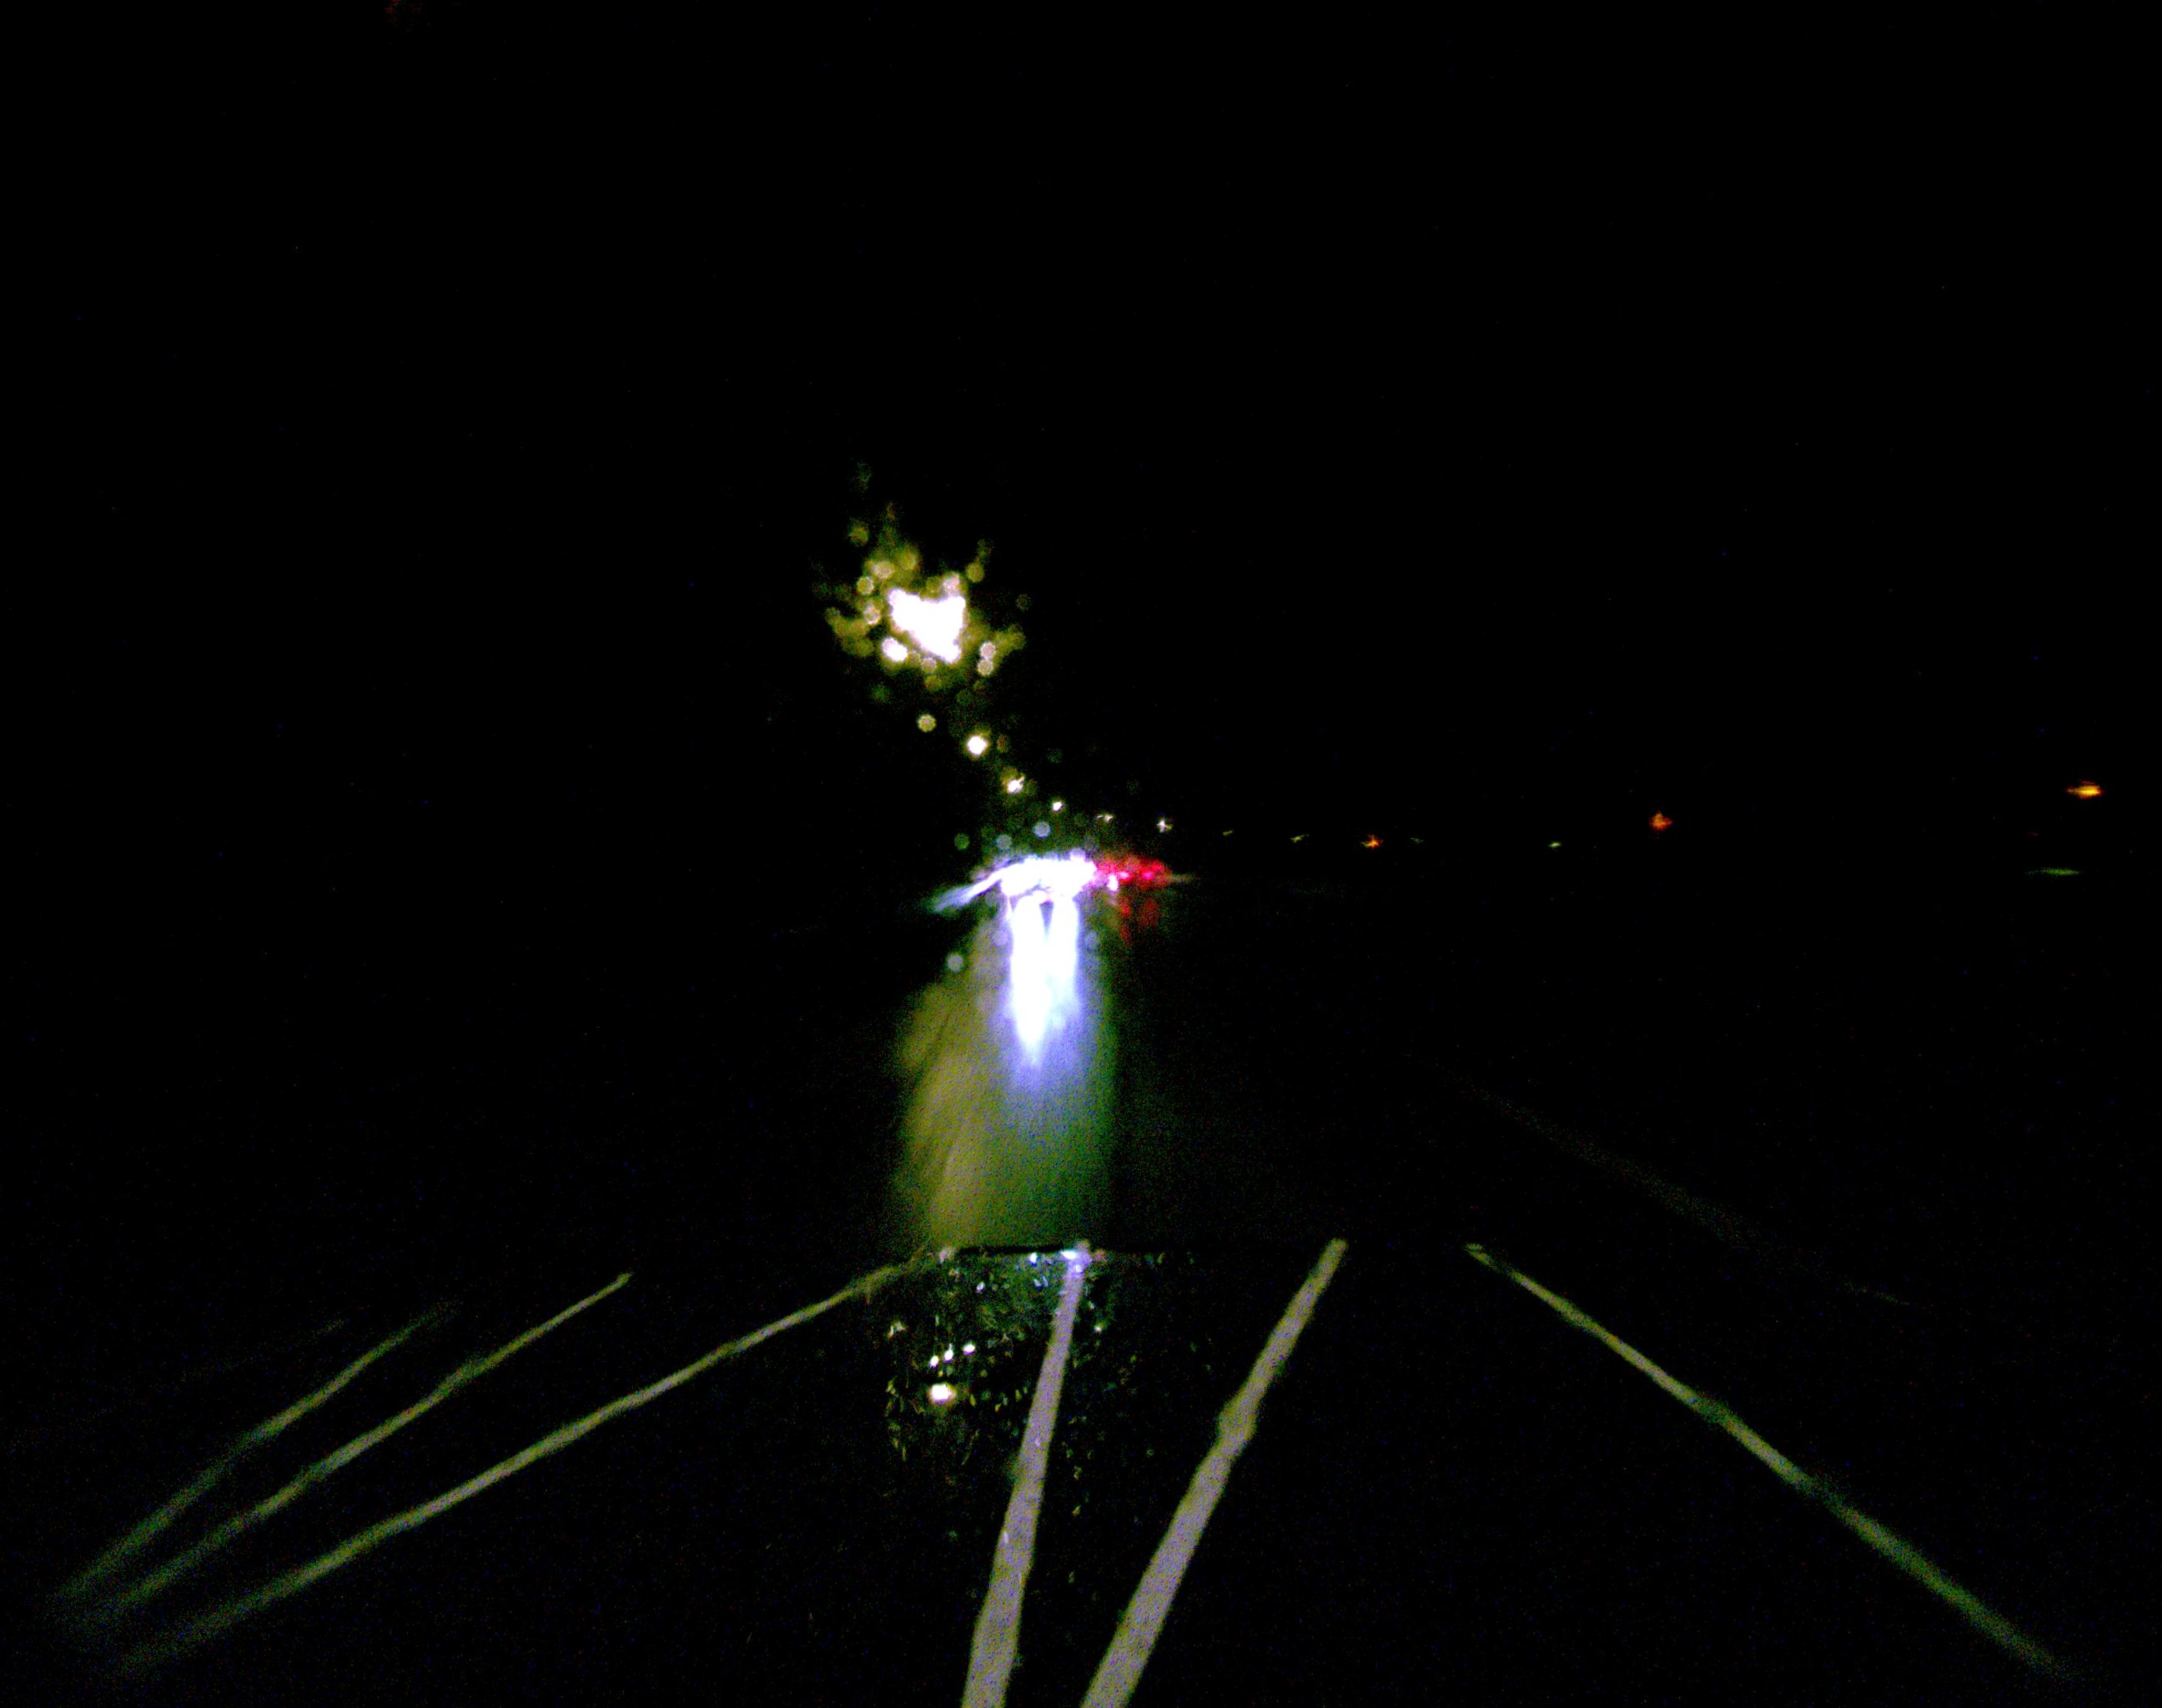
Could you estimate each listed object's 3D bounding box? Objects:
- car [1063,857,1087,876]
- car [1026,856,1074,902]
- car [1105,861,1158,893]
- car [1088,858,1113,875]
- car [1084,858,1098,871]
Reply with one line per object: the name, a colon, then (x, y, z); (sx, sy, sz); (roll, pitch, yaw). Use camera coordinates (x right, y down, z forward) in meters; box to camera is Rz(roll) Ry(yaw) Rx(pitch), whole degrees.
car: (-0.586, 1.265, 77.636); (1.998, 1.922, 4.002); (1, -1, 5)
car: (-1.335, 1.036, 33.050); (1.937, 1.861, 3.999); (-1, 0, -2)
car: (2.295, 1.044, 35.610); (1.829, 1.394, 4.034); (-1, -1, -6)
car: (1.674, 1.094, 67.258); (1.765, 1.423, 4.326); (0, 0, -5)
car: (1.210, 1.254, 93.565); (1.622, 1.470, 4.046); (1, 0, -1)
